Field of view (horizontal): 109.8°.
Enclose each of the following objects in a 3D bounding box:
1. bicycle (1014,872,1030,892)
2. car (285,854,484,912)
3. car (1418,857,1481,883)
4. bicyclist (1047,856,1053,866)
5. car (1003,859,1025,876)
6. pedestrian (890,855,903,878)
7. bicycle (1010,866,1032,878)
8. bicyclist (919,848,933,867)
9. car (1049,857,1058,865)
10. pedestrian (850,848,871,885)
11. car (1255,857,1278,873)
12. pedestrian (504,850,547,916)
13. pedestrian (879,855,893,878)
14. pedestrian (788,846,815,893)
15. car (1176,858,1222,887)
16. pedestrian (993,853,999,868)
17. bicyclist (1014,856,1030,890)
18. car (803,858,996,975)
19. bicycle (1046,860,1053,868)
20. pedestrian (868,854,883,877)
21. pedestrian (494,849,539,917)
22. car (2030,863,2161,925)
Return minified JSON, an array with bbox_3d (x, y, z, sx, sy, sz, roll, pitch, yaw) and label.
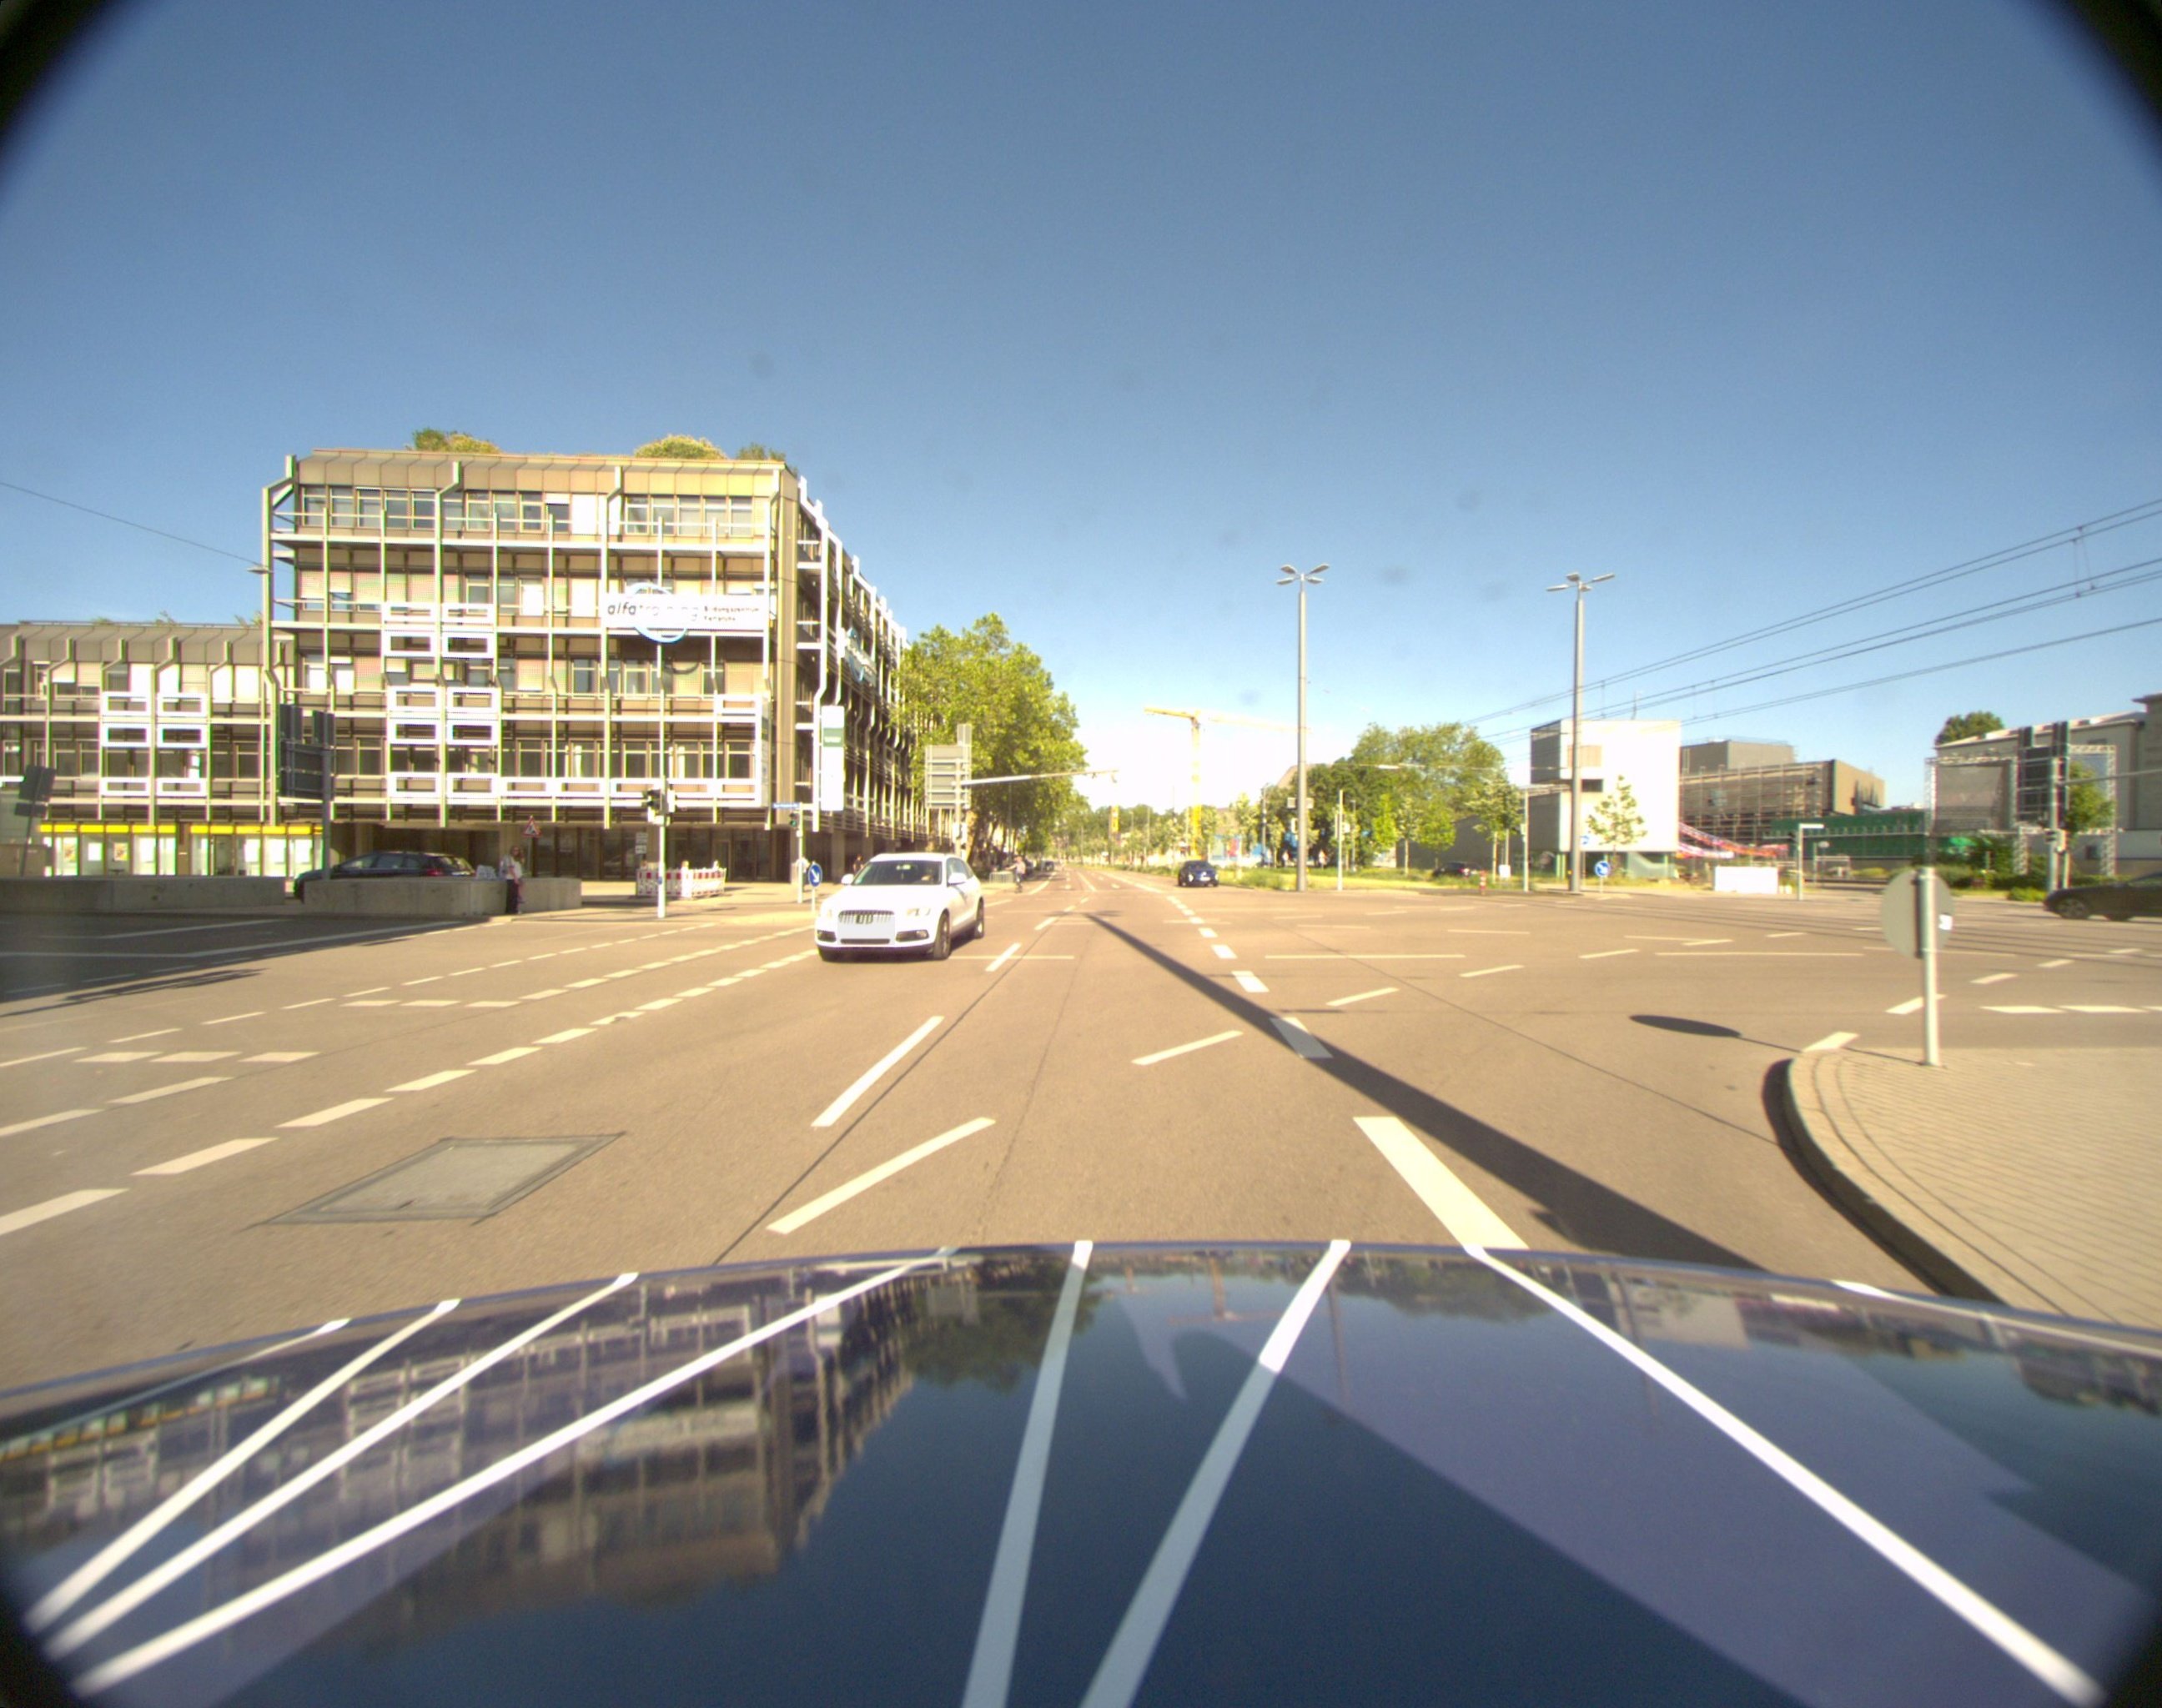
[{"bbox_3d":[-2.997,1.418,38.825,0.711,0.987,1.923,-2,0,-3],"label":"bicycle"},{"bbox_3d":[-21.191,0.849,23.251,4.409,1.689,1.790,0,0,0],"label":"car"},{"bbox_3d":[24.935,1.062,51.580,1.999,1.697,4.560,0,0,-1],"label":"car"},{"bbox_3d":[-4.365,1.019,106.404,0.830,1.380,0.903,0,0,-1],"label":"bicyclist"},{"bbox_3d":[-6.319,1.291,72.365,1.752,1.481,4.559,1,0,-1],"label":"car"},{"bbox_3d":[-12.737,0.848,52.525,0.668,1.591,0.728,2,0,0],"label":"pedestrian"},{"bbox_3d":[-5.093,1.501,64.247,1.849,0.954,0.711,2,0,-6],"label":"bicycle"},{"bbox_3d":[-12.028,0.279,59.032,0.883,1.468,0.883,0,0,-1],"label":"bicyclist"},{"bbox_3d":[-5.790,1.405,159.273,1.999,1.597,3.895,0,0,-3],"label":"car"},{"bbox_3d":[-12.035,0.677,41.546,0.950,2.002,1.079,0,0,-9],"label":"pedestrian"},{"bbox_3d":[23.366,1.320,95.719,1.875,1.944,4.000,0,0,-1],"label":"car"},{"bbox_3d":[-13.795,0.702,18.892,0.662,1.603,0.526,2,1,-10],"label":"pedestrian"},{"bbox_3d":[-13.540,0.856,52.778,0.668,1.591,0.728,2,0,-1],"label":"pedestrian"},{"bbox_3d":[-12.199,0.651,33.150,0.950,2.002,1.078,0,0,-12],"label":"pedestrian"},{"bbox_3d":[6.826,1.032,44.378,1.775,1.579,4.087,-2,0,-4],"label":"car"},{"bbox_3d":[-11.151,0.868,99.806,0.741,2.002,0.626,0,0,-2],"label":"pedestrian"},{"bbox_3d":[-3.013,0.948,38.874,0.711,1.677,0.852,-2,0,-2],"label":"bicyclist"},{"bbox_3d":[-2.820,0.903,12.924,1.823,1.604,4.414,-1,0,6],"label":"car"},{"bbox_3d":[-4.374,1.354,106.402,0.845,1.123,2.553,0,0,-1],"label":"bicycle"},{"bbox_3d":[-14.294,0.811,52.877,0.668,1.591,1.009,2,0,0],"label":"pedestrian"},{"bbox_3d":[-13.562,0.692,18.278,0.662,1.603,0.526,2,1,-10],"label":"pedestrian"},{"bbox_3d":[28.590,1.033,19.542,2.001,1.552,4.825,0,0,-11],"label":"car"}]
